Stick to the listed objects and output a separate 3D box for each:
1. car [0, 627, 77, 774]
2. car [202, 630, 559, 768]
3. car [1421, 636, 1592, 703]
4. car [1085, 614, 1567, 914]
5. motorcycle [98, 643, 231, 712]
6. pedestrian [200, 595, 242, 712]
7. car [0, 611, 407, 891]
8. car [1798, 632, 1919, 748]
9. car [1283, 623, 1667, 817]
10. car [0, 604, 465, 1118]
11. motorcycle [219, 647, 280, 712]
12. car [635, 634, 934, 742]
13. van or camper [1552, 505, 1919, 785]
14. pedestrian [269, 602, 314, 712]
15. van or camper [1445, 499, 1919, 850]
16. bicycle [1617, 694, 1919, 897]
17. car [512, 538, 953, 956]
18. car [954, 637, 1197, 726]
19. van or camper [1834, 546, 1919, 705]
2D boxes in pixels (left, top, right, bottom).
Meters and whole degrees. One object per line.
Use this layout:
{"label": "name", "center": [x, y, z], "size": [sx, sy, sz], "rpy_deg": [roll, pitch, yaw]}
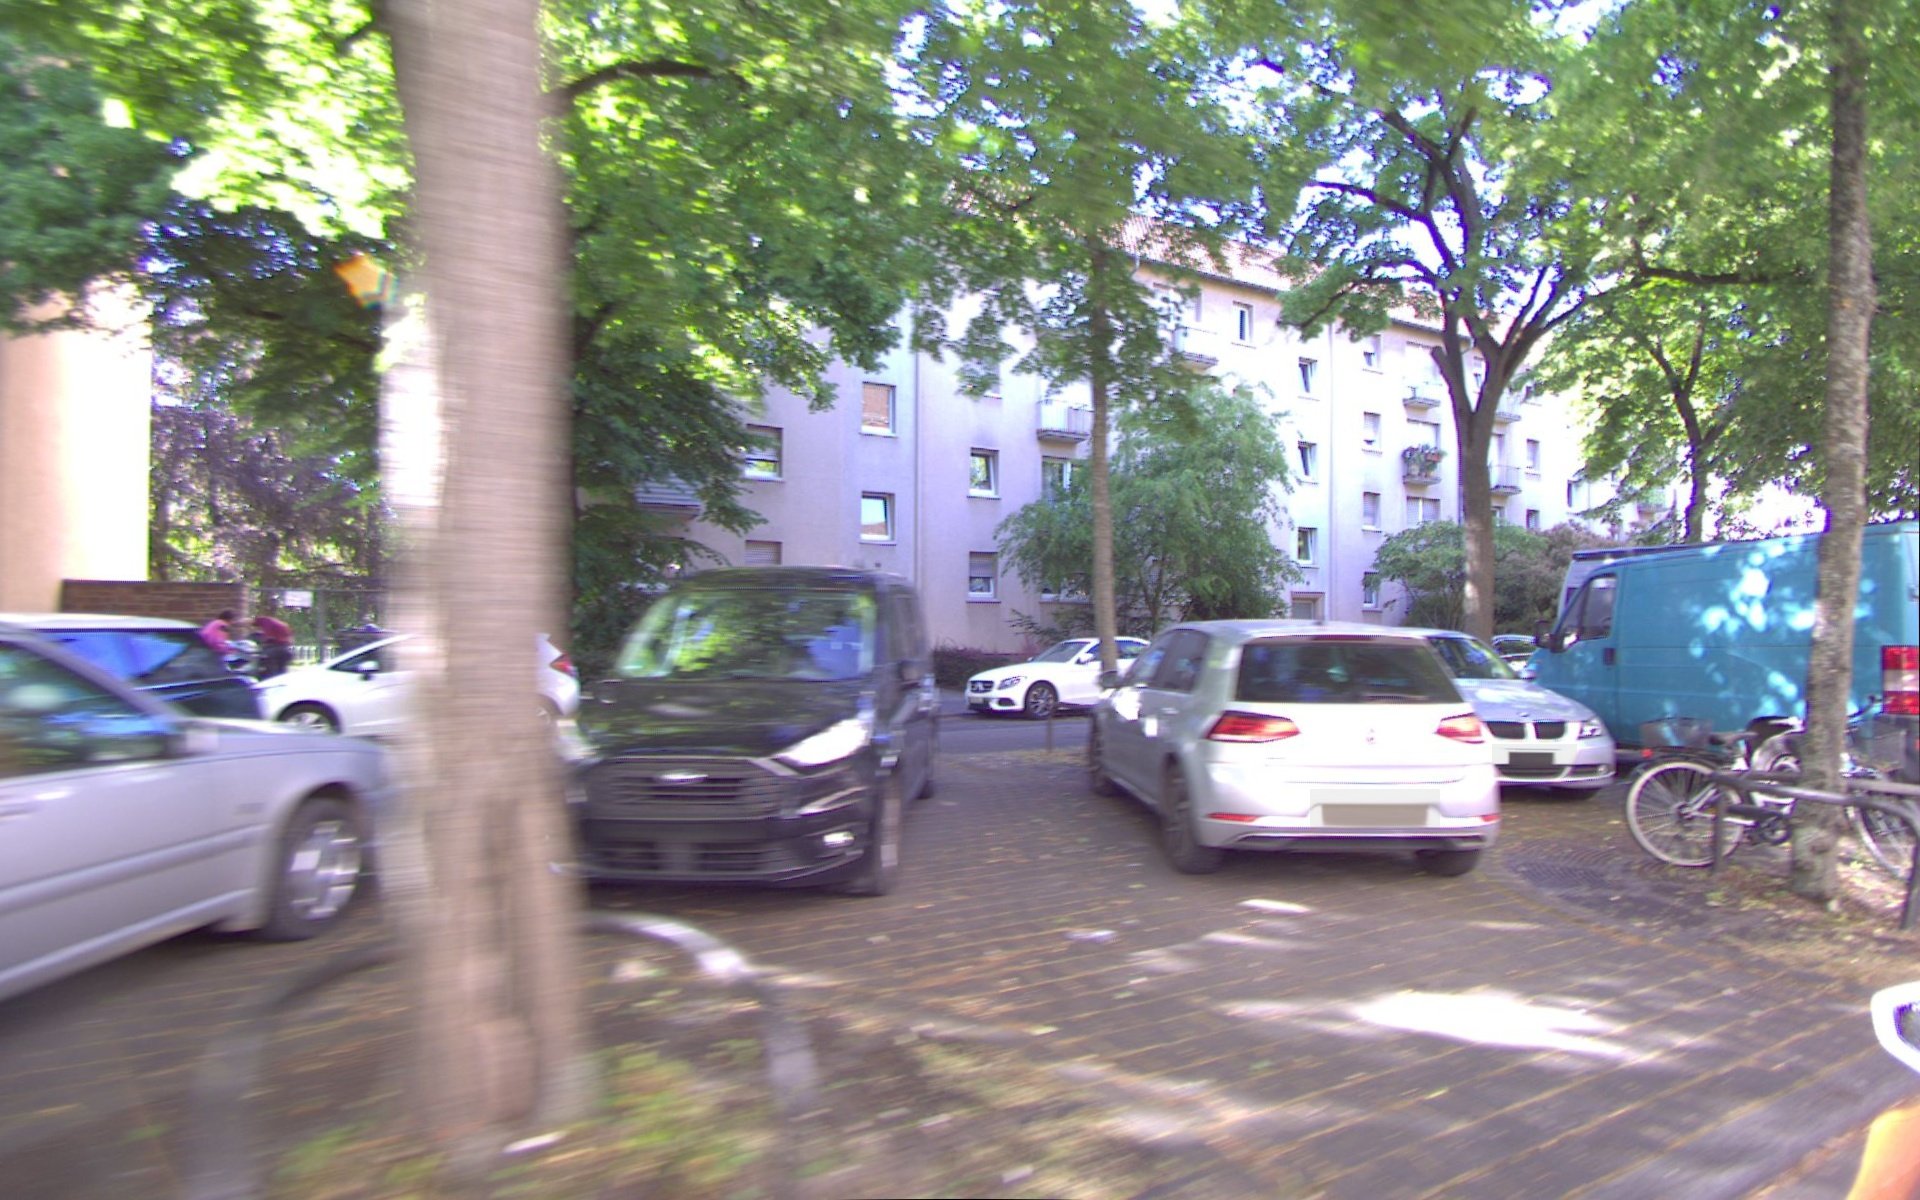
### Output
{"label": "car", "center": [-11.789, 1.038, 10.358], "size": [3.725, 1.519, 1.656], "rpy_deg": [1, -1, -30]}
{"label": "car", "center": [-7.243, 1.155, 12.876], "size": [3.725, 1.519, 1.656], "rpy_deg": [1, -1, -30]}
{"label": "car", "center": [13.187, 1.613, 24.215], "size": [3.916, 1.475, 1.810], "rpy_deg": [1, -1, -28]}
{"label": "car", "center": [2.052, 0.852, 6.914], "size": [1.810, 1.462, 3.956], "rpy_deg": [0, -1, -1]}
{"label": "motorcycle", "center": [-13.871, 1.334, 17.567], "size": [1.762, 1.159, 0.409], "rpy_deg": [1, -2, -32]}
{"label": "pedestrian", "center": [-11.928, 0.862, 16.218], "size": [0.457, 1.851, 0.497], "rpy_deg": [1, -2, -30]}
{"label": "car", "center": [-5.653, 0.817, 6.973], "size": [1.642, 1.443, 3.574], "rpy_deg": [0, -1, 0]}
{"label": "car", "center": [12.814, 1.125, 12.257], "size": [1.787, 1.433, 3.965], "rpy_deg": [0, -1, -2]}
{"label": "car", "center": [4.529, 0.950, 9.587], "size": [1.687, 1.449, 4.000], "rpy_deg": [0, -1, 1]}
{"label": "car", "center": [-3.570, 0.742, 3.043], "size": [1.698, 1.462, 4.491], "rpy_deg": [0, -1, 3]}
{"label": "motorcycle", "center": [-11.262, 1.233, 15.964], "size": [0.530, 0.932, 1.769], "rpy_deg": [1, -2, -27]}
{"label": "car", "center": [-2.641, 1.255, 15.431], "size": [4.245, 1.443, 1.656], "rpy_deg": [1, -1, -30]}
{"label": "van or camper", "center": [10.229, 0.516, 12.524], "size": [2.210, 2.672, 5.888], "rpy_deg": [0, -2, 0]}
{"label": "pedestrian", "center": [-10.889, 0.922, 16.384], "size": [0.552, 1.750, 0.497], "rpy_deg": [1, -2, -30]}
{"label": "van or camper", "center": [7.153, 0.575, 9.392], "size": [2.178, 2.305, 5.512], "rpy_deg": [0, -2, -5]}
{"label": "bicycle", "center": [4.900, 1.107, 5.912], "size": [1.695, 1.019, 0.510], "rpy_deg": [-1, -2, 31]}
{"label": "car", "center": [-0.998, 0.684, 6.618], "size": [1.774, 1.787, 4.562], "rpy_deg": [0, -1, 1]}
{"label": "car", "center": [2.157, 1.414, 18.387], "size": [4.310, 1.443, 1.656], "rpy_deg": [1, -1, -30]}
{"label": "van or camper", "center": [21.165, 0.488, 19.514], "size": [2.446, 3.283, 6.679], "rpy_deg": [0, -2, -1]}
